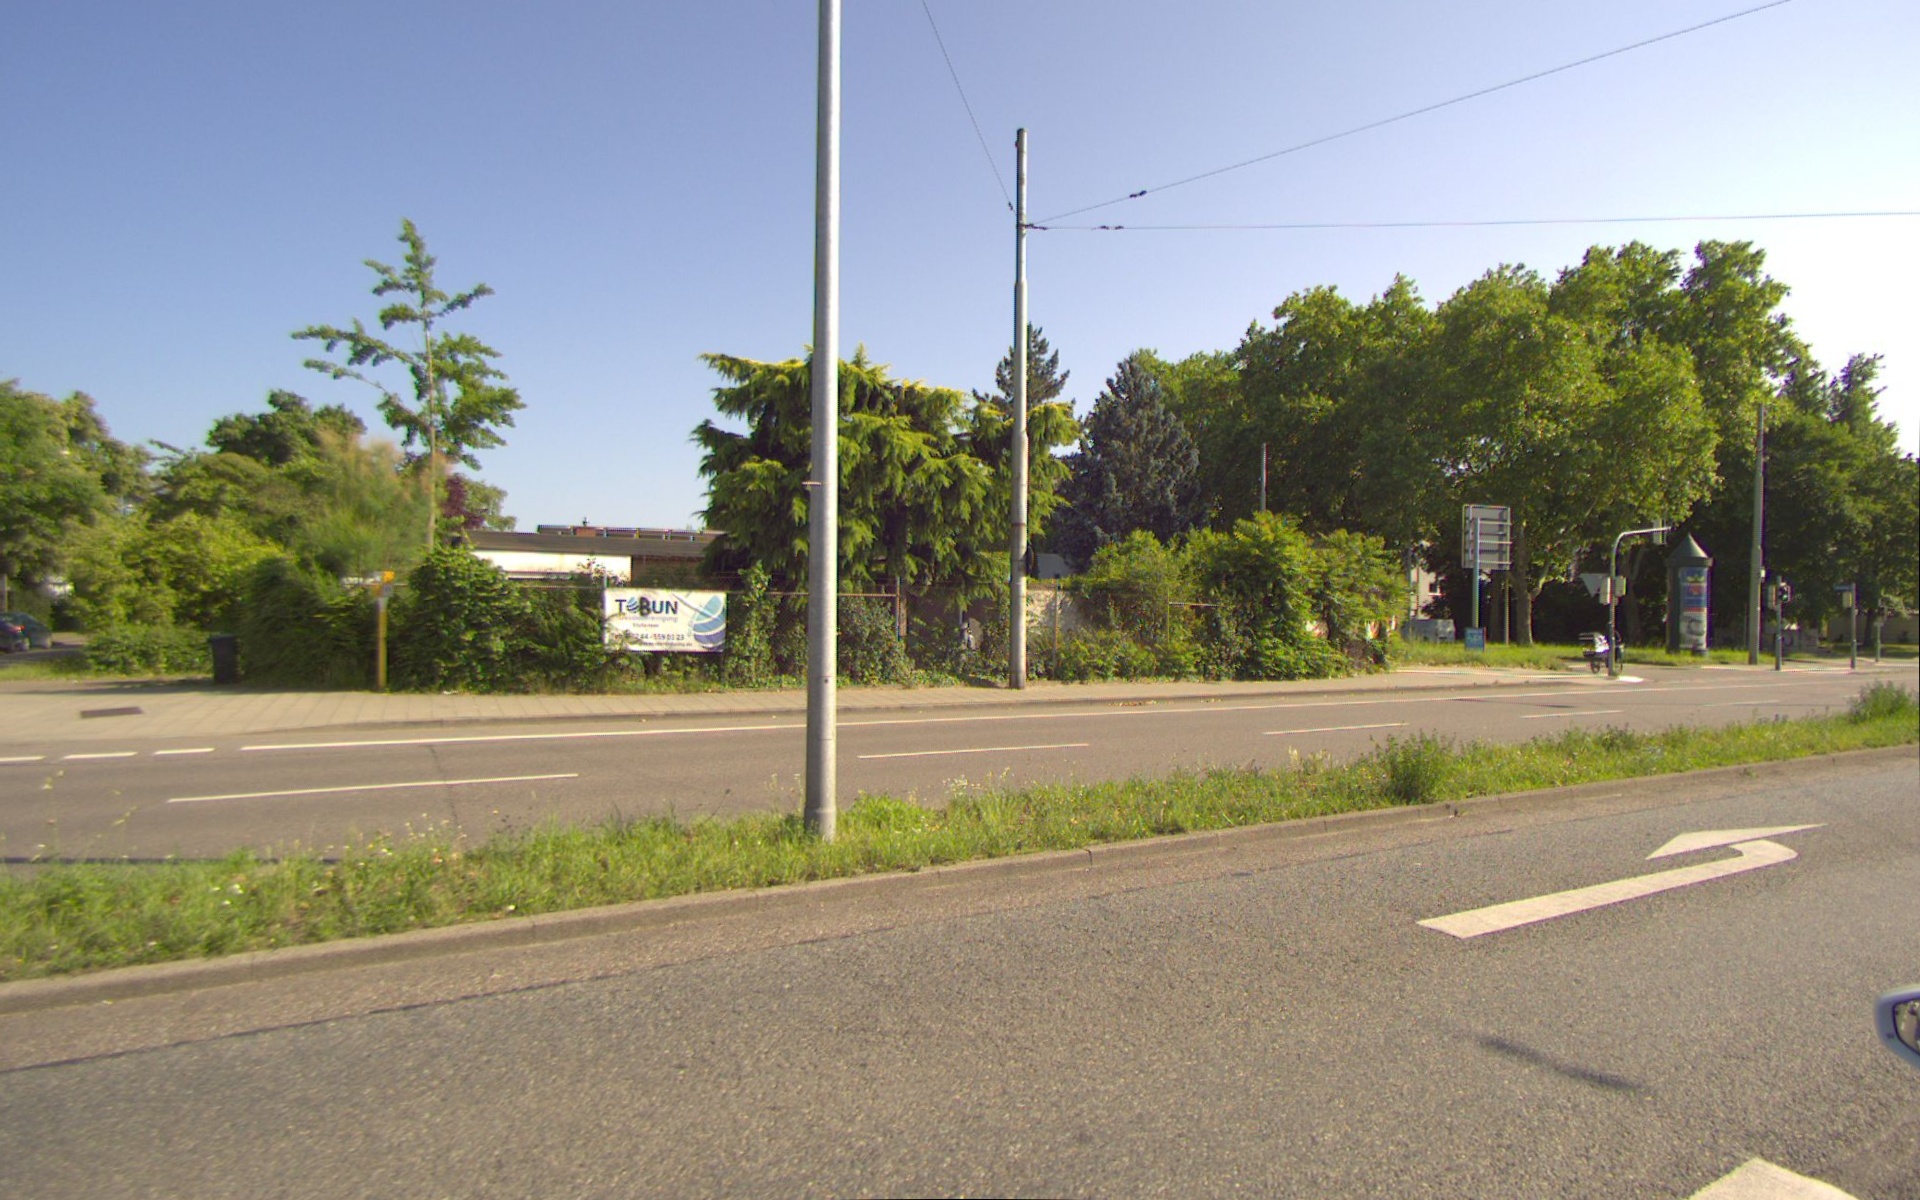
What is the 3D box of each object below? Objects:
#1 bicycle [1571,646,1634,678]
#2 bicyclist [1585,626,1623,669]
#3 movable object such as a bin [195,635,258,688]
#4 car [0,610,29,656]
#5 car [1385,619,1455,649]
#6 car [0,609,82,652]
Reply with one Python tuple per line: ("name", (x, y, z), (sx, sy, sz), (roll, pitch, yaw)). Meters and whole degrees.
("bicycle", (22.324, 2.144, 34.887), (2.546, 1.063, 0.659), (1, -1, -27))
("bicyclist", (22.406, 1.657, 34.941), (1.037, 1.471, 0.659), (1, -1, -26))
("movable object such as a bin", (-13.762, 1.142, 18.871), (0.843, 0.943, 0.812), (1, -1, -30))
("car", (-32.534, 1.072, 33.003), (1.764, 1.530, 3.973), (1, -1, -27))
("car", (31.872, 2.352, 69.717), (1.798, 1.989, 4.379), (1, -1, -22))
("car", (-34.800, 1.121, 37.733), (1.764, 1.530, 3.973), (1, -1, -27))
